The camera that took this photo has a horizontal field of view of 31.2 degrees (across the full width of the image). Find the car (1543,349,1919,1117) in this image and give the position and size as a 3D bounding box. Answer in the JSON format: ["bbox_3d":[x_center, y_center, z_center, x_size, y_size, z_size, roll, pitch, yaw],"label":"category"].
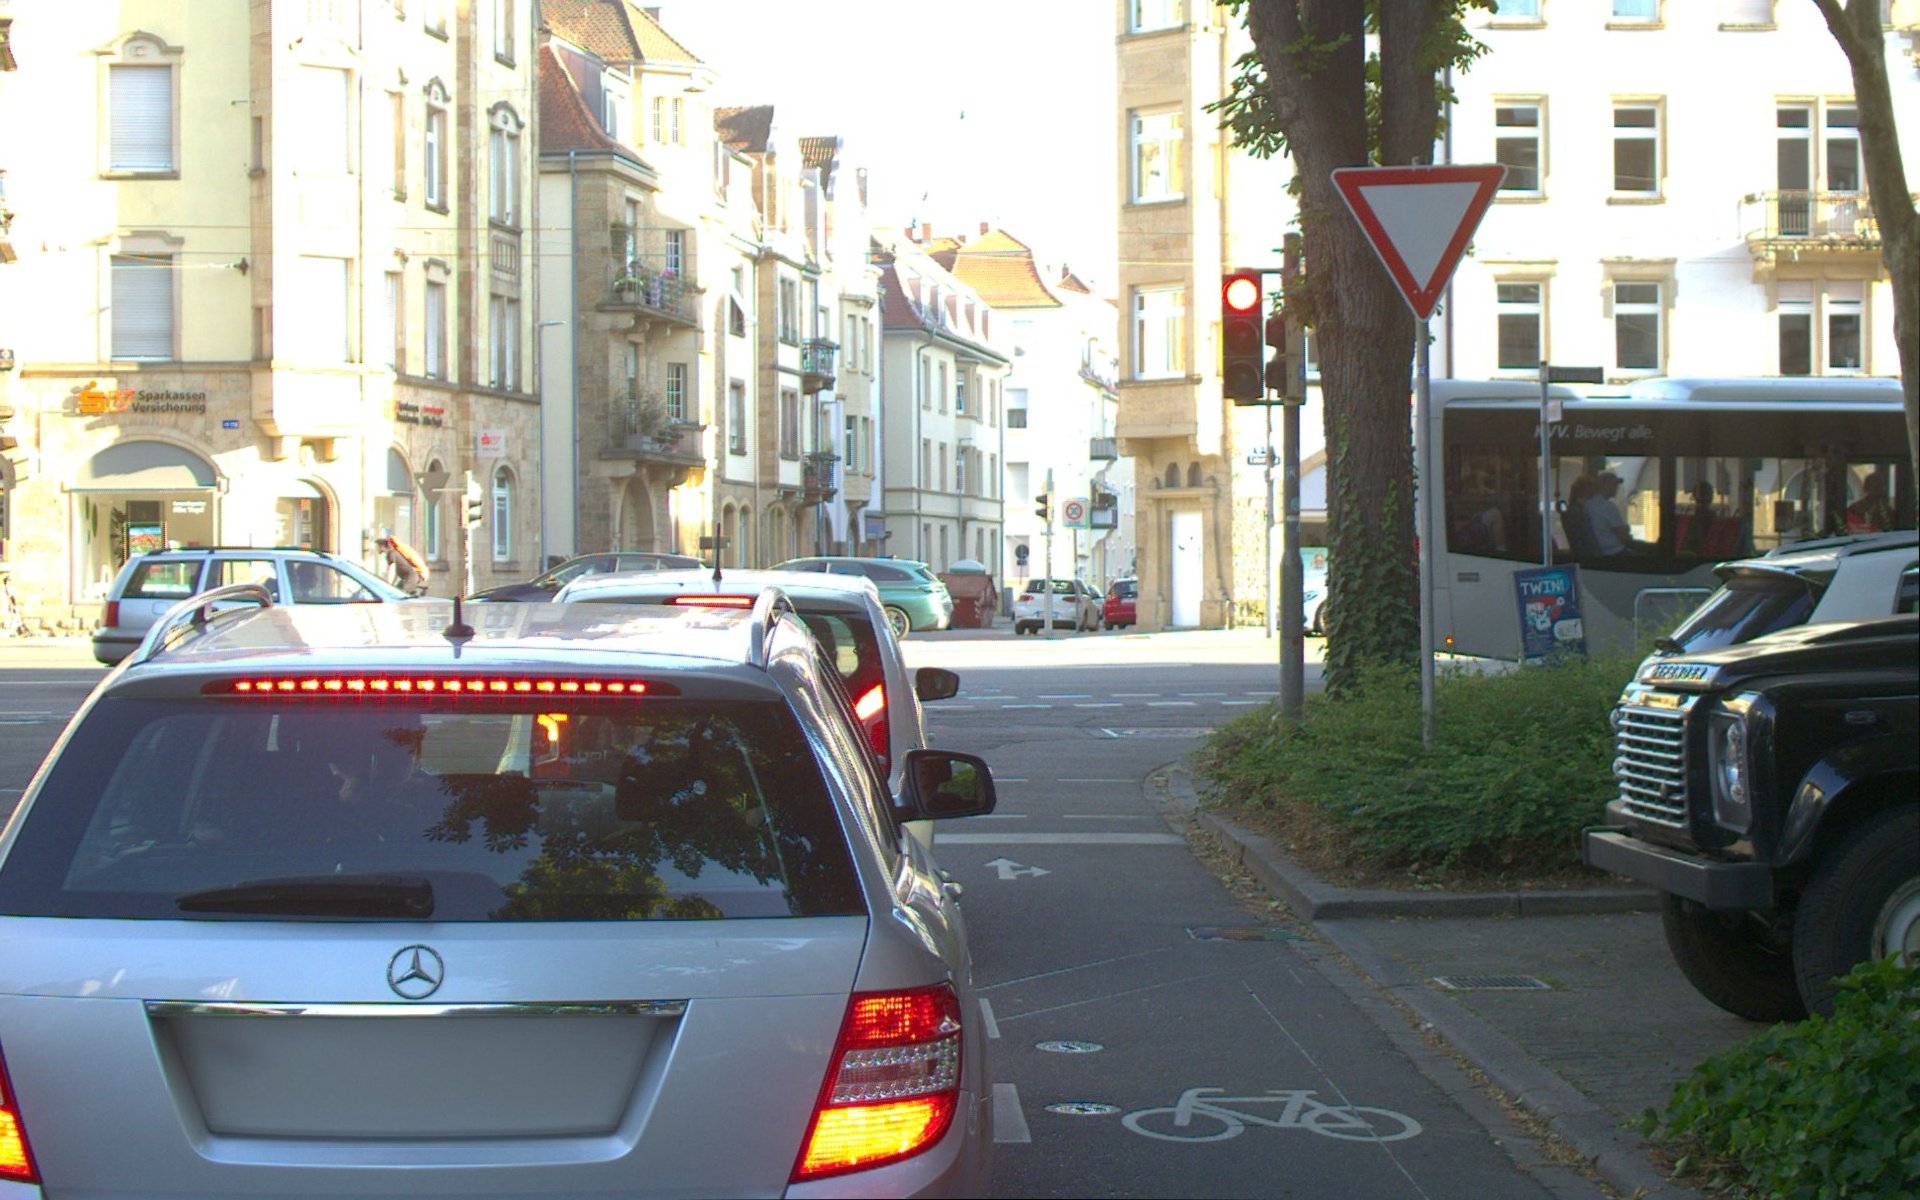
[{"bbox_3d":[4.140,0.301,10.117,4.465,2.029,1.701,-1,0,-3],"label":"car"}]

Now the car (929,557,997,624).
[{"bbox_3d":[0.133,-0.352,117.345,1.787,2.196,3.999,0,1,8],"label":"car"}]

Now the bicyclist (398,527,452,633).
[{"bbox_3d":[-9.440,-0.356,60.653,0.891,1.853,0.637,0,1,-5],"label":"bicyclist"}]

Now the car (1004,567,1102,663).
[{"bbox_3d":[2.345,0.353,85.895,2.031,2.272,3.999,0,1,8],"label":"car"}]

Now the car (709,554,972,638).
[{"bbox_3d":[-1.997,-0.083,56.689,4.220,1.344,1.665,0,1,-6],"label":"car"}]

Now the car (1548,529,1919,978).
[{"bbox_3d":[4.295,0.500,13.087,3.723,1.564,1.709,-1,0,-4],"label":"car"}]

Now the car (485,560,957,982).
[{"bbox_3d":[-0.910,0.569,14.046,1.619,1.442,4.345,0,1,-2],"label":"car"}]

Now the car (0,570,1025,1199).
[{"bbox_3d":[-0.893,0.679,6.957,1.777,1.447,4.548,0,1,-2],"label":"car"}]

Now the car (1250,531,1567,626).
[{"bbox_3d":[7.096,-0.351,54.618,4.702,1.455,1.837,0,1,-6],"label":"car"}]

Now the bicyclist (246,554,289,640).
[{"bbox_3d":[-11.618,-0.057,57.683,0.643,1.421,0.637,0,1,-5],"label":"bicyclist"}]

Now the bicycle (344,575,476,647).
[{"bbox_3d":[-9.698,0.192,60.636,2.256,1.242,0.637,0,1,-5],"label":"bicycle"}]

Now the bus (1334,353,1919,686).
[{"bbox_3d":[8.184,-0.844,35.135,8.173,3.190,2.912,-1,1,-8],"label":"bus"}]

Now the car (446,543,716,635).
[{"bbox_3d":[-5.788,-0.182,52.639,4.033,1.355,1.664,-1,1,-6],"label":"car"}]

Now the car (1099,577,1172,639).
[{"bbox_3d":[5.221,0.218,101.927,1.835,1.738,3.999,0,1,8],"label":"car"}]

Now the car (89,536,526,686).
[{"bbox_3d":[-6.725,0.095,35.800,4.344,1.491,1.662,0,1,-7],"label":"car"}]
